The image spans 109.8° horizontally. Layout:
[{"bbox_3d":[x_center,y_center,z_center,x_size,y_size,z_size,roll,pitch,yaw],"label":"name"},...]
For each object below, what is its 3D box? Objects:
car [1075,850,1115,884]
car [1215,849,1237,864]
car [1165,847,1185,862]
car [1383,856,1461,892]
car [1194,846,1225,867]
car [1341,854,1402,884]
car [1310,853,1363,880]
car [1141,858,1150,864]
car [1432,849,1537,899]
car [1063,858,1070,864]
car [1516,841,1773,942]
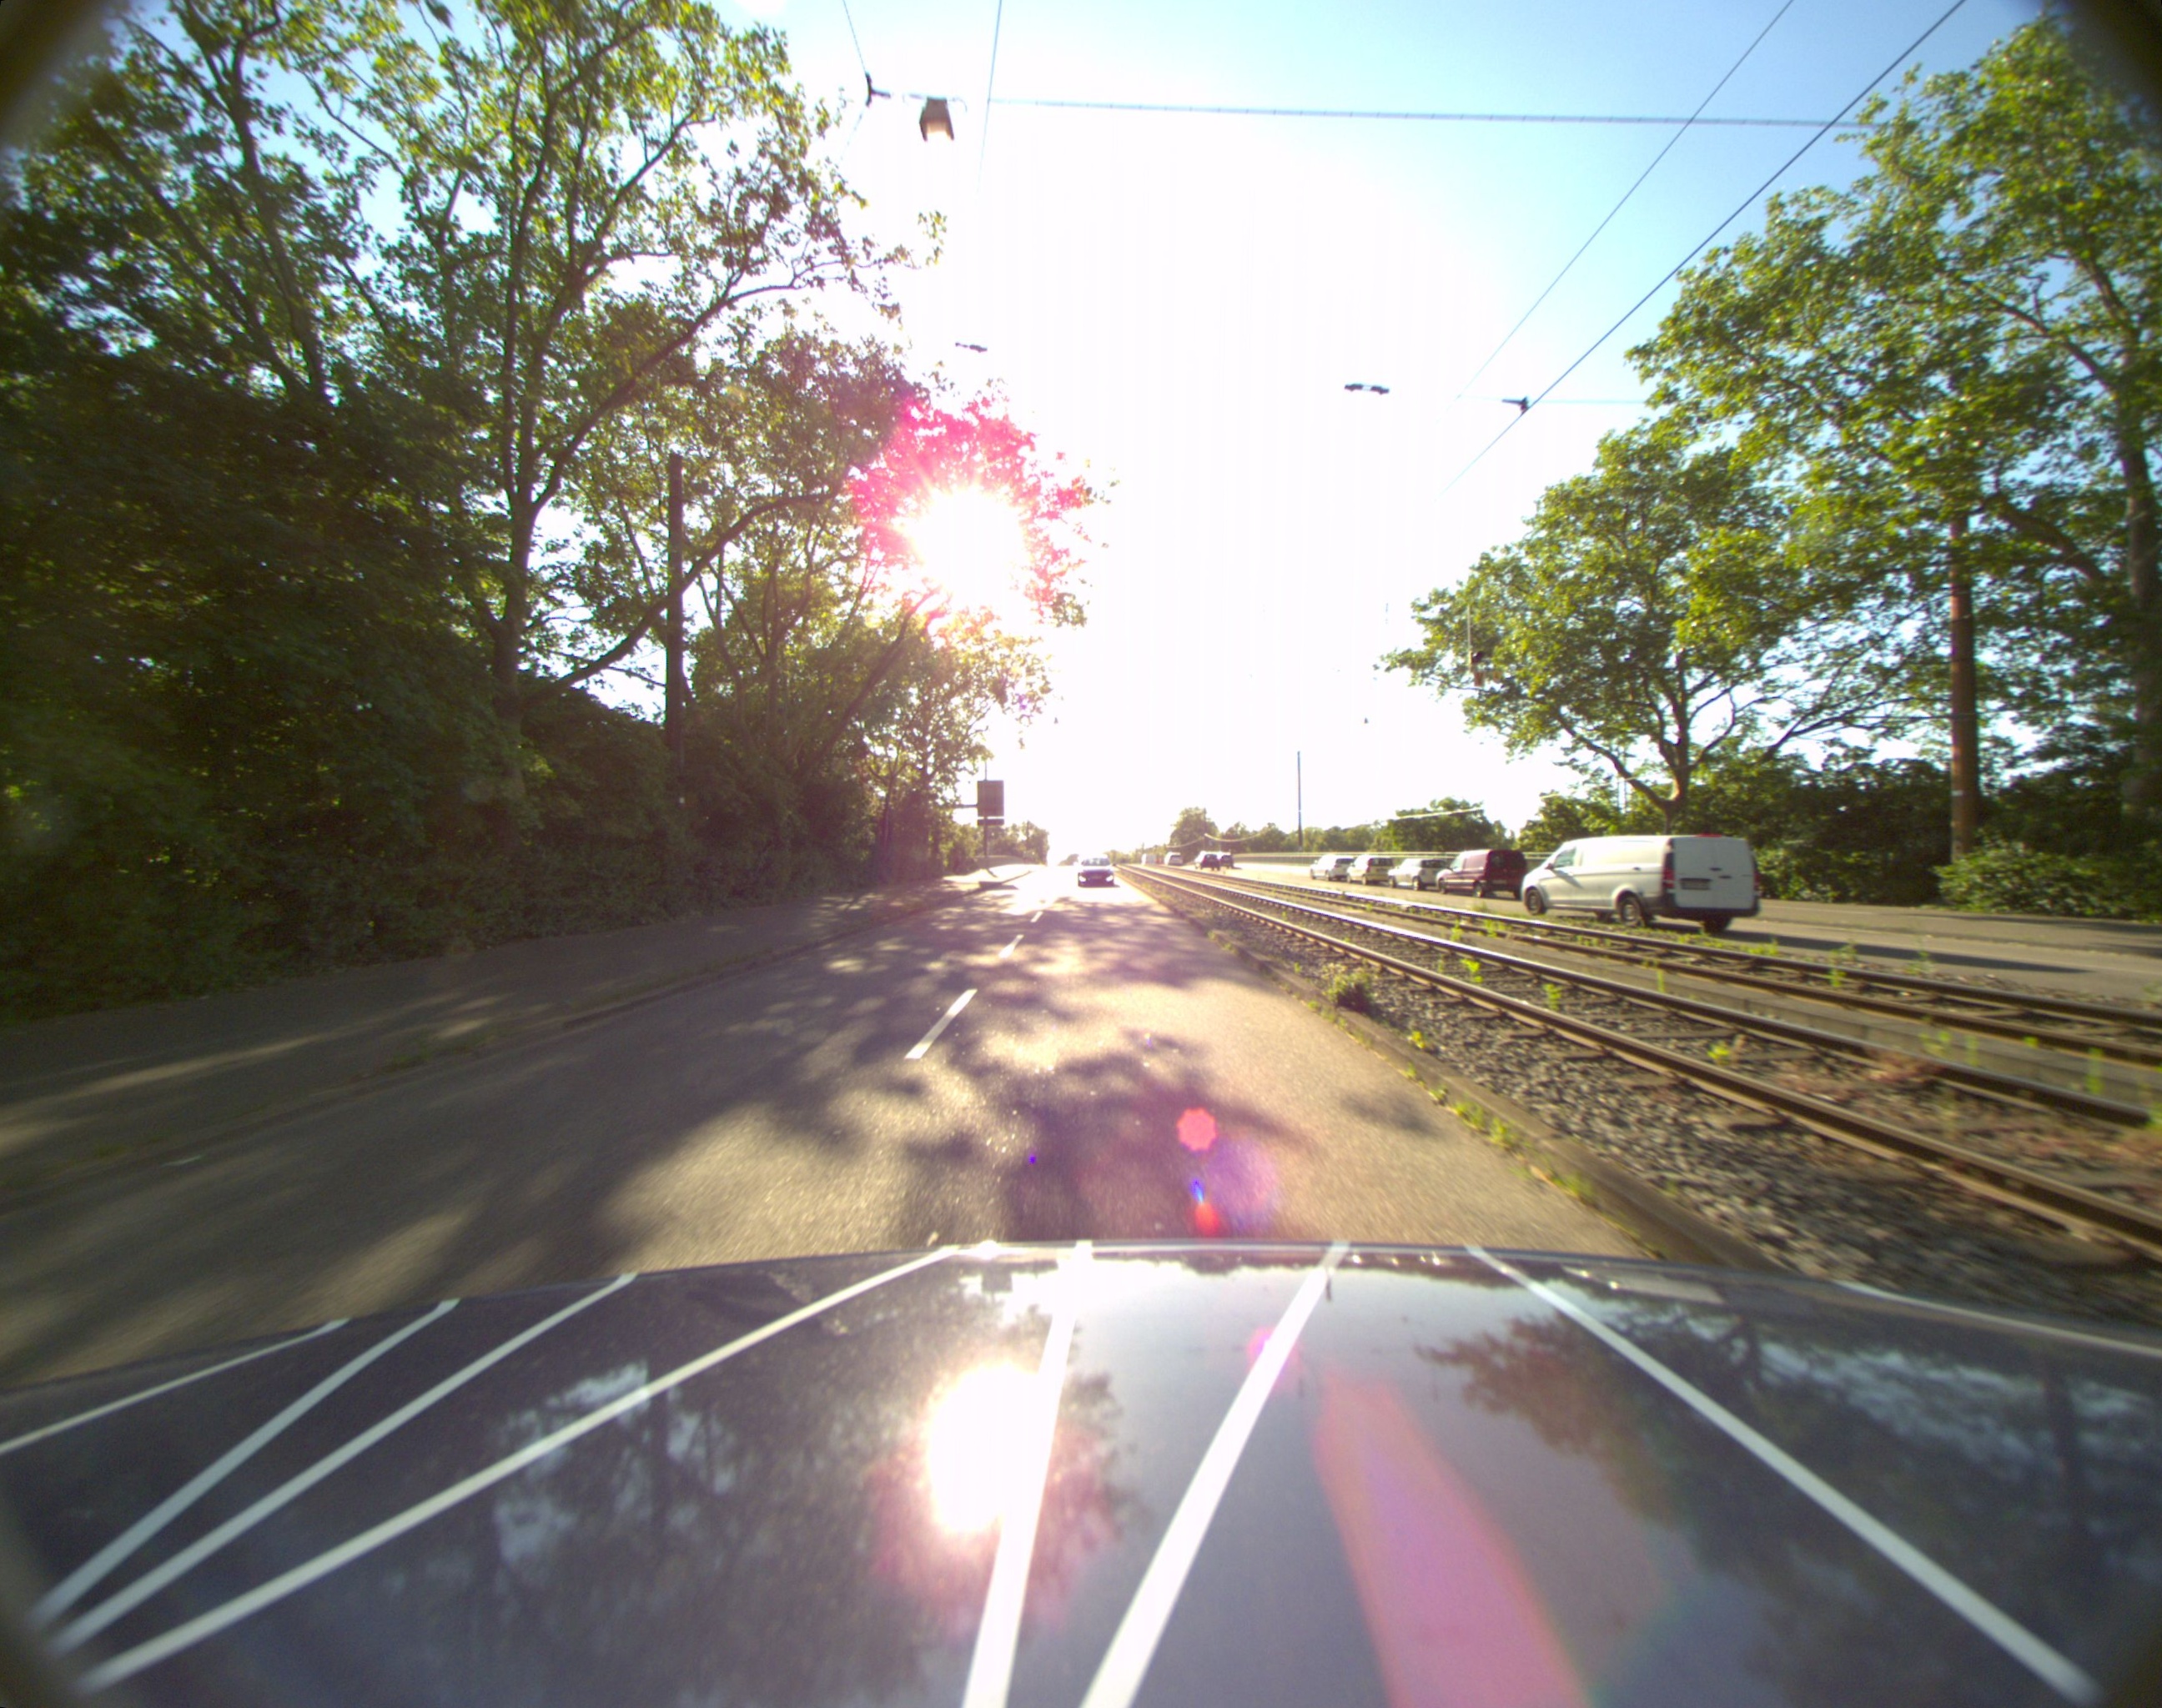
[{"bbox_3d":[0.659,0.620,37.200,1.799,1.501,4.000,-2,0,0],"label":"car"},{"bbox_3d":[15.537,0.235,81.515,1.658,1.491,3.925,1,1,1],"label":"car"},{"bbox_3d":[12.194,0.016,98.851,1.988,1.841,4.961,1,1,0],"label":"car"},{"bbox_3d":[15.249,0.848,34.182,1.658,1.434,3.784,1,1,-2],"label":"car"},{"bbox_3d":[11.988,0.184,71.019,1.988,1.841,4.961,1,1,0],"label":"car"},{"bbox_3d":[15.087,0.729,39.667,1.658,1.434,3.784,1,1,-1],"label":"car"},{"bbox_3d":[15.108,0.695,45.068,1.658,1.491,3.924,1,1,-2],"label":"car"},{"bbox_3d":[15.500,1.668,183.422,1.799,1.501,3.999,-2,1,1],"label":"car"},{"bbox_3d":[15.155,0.691,28.790,1.735,1.730,3.899,1,1,-2],"label":"car"},{"bbox_3d":[-4.374,2.027,227.088,1.799,1.501,3.999,-2,1,1],"label":"car"},{"bbox_3d":[11.923,0.675,16.660,1.831,1.841,5.035,1,1,0],"label":"car"}]
